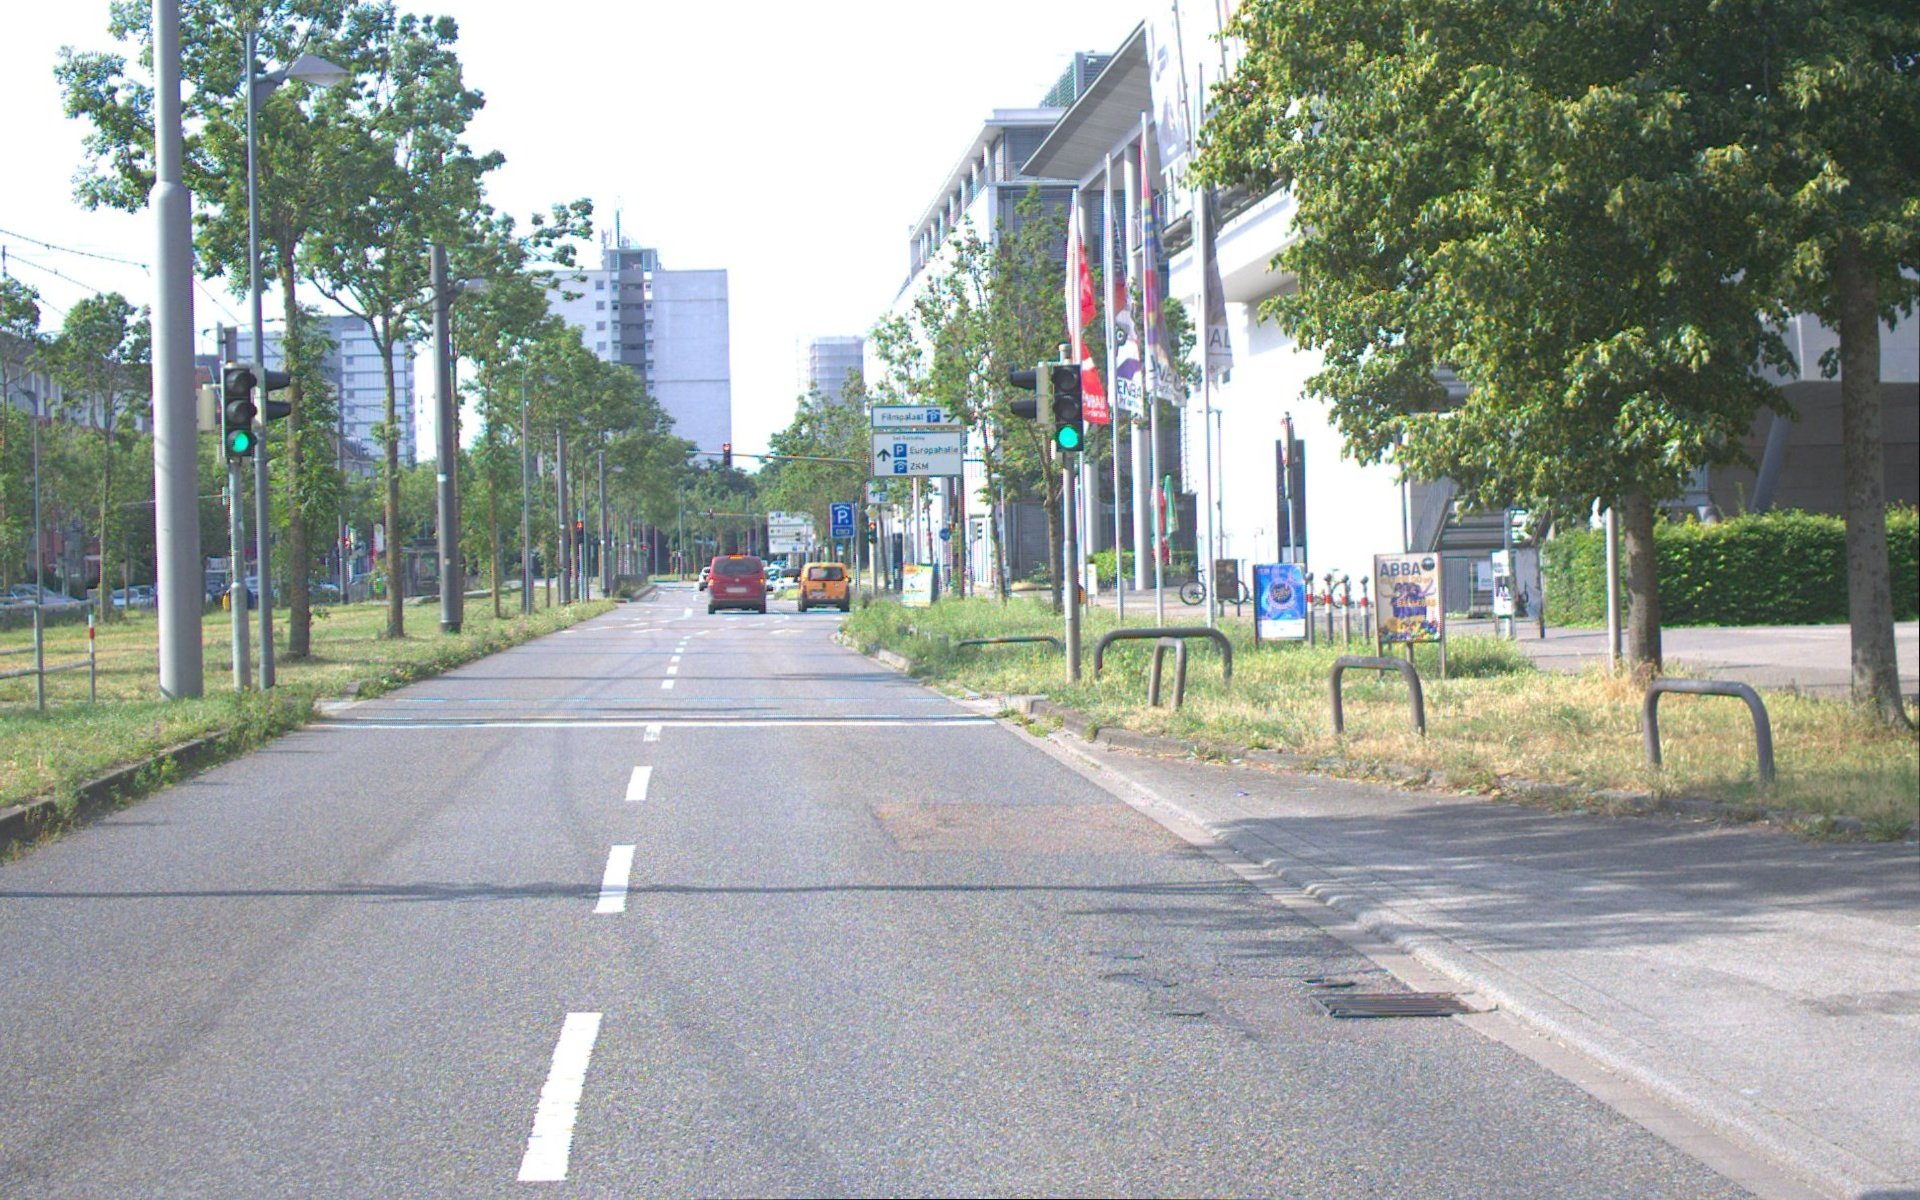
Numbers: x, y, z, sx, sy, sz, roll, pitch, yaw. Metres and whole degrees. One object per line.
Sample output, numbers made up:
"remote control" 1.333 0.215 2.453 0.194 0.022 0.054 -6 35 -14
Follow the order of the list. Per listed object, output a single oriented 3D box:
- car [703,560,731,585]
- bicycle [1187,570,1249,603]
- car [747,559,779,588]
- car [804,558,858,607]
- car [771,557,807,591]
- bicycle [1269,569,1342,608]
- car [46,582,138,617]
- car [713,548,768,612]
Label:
"car" -16.154 -1.824 228.716 1.748 1.645 3.216 1 0 -3
"bicycle" 7.129 -0.382 94.848 1.621 0.885 0.551 1 0 -5
"car" -11.394 -1.532 198.643 1.748 1.645 3.216 1 0 -5
"car" -4.456 -0.598 118.539 1.748 1.645 3.216 1 0 -3
"car" -8.623 -1.317 172.941 1.748 1.645 3.216 1 0 -3
"bicycle" 8.047 -0.270 80.082 1.621 0.885 0.551 1 0 -5
"car" -41.101 -0.035 162.778 3.991 1.590 1.653 1 0 22
"car" -7.126 -0.654 111.716 1.748 2.007 3.216 1 0 -3
